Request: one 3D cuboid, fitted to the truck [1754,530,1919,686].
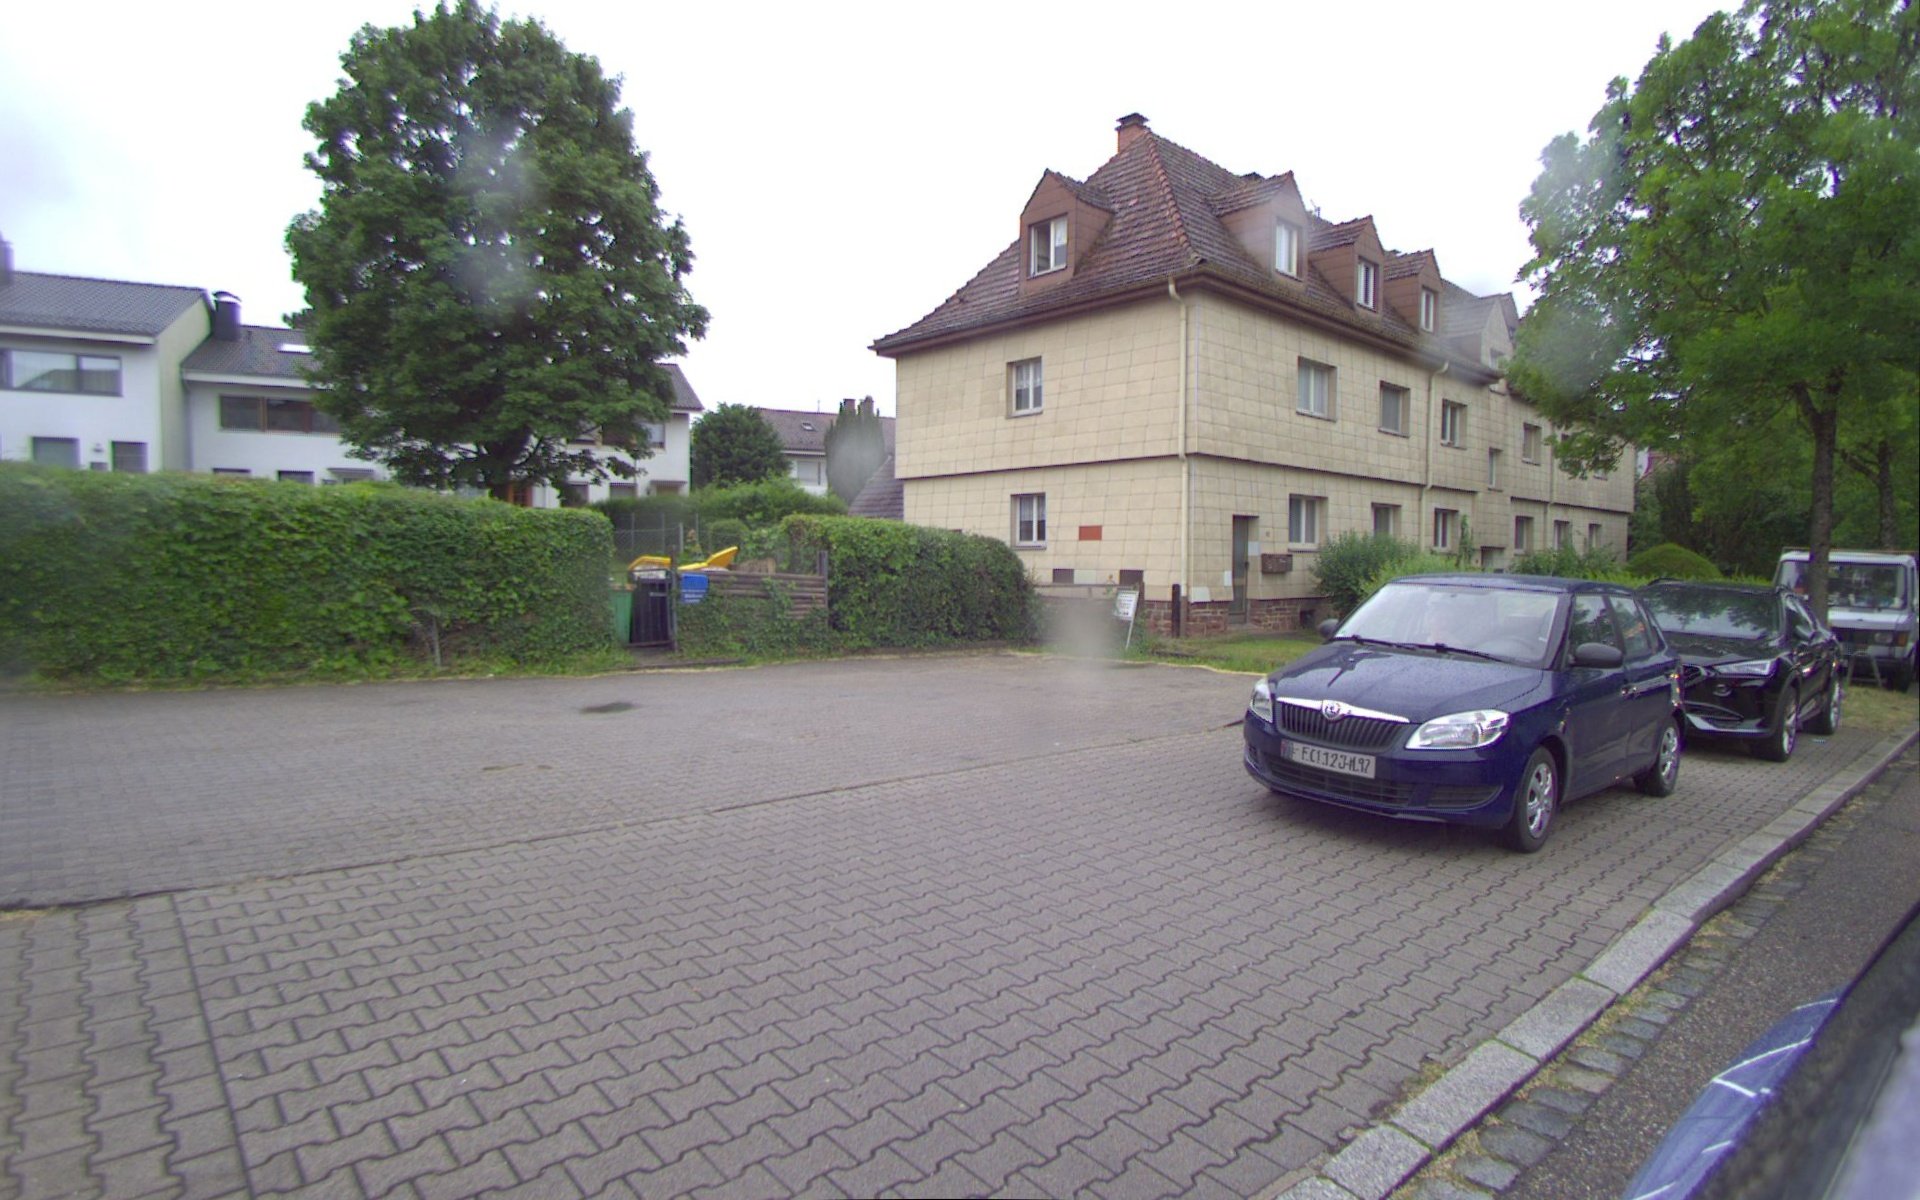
[{"bbox_3d":[15.909,0.074,17.714,6.392,2.248,2.084,0,4,-43],"label":"truck"}]

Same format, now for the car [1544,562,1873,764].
[{"bbox_3d":[7.505,0.477,9.996,4.111,1.516,1.718,0,4,-42],"label":"car"}]

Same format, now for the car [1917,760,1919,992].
[{"bbox_3d":[5.677,0.686,4.406,4.406,1.488,1.853,1,0,-42],"label":"car"}]

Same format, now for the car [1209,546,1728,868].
[{"bbox_3d":[3.454,0.478,6.578,3.788,1.490,1.608,0,3,-40],"label":"car"}]

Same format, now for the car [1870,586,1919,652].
[{"bbox_3d":[23.938,0.559,25.020,3.951,1.454,1.605,4,2,-42],"label":"car"}]

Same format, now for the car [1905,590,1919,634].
[{"bbox_3d":[33.523,0.437,34.410,4.424,1.406,1.691,0,4,-43],"label":"car"}]
